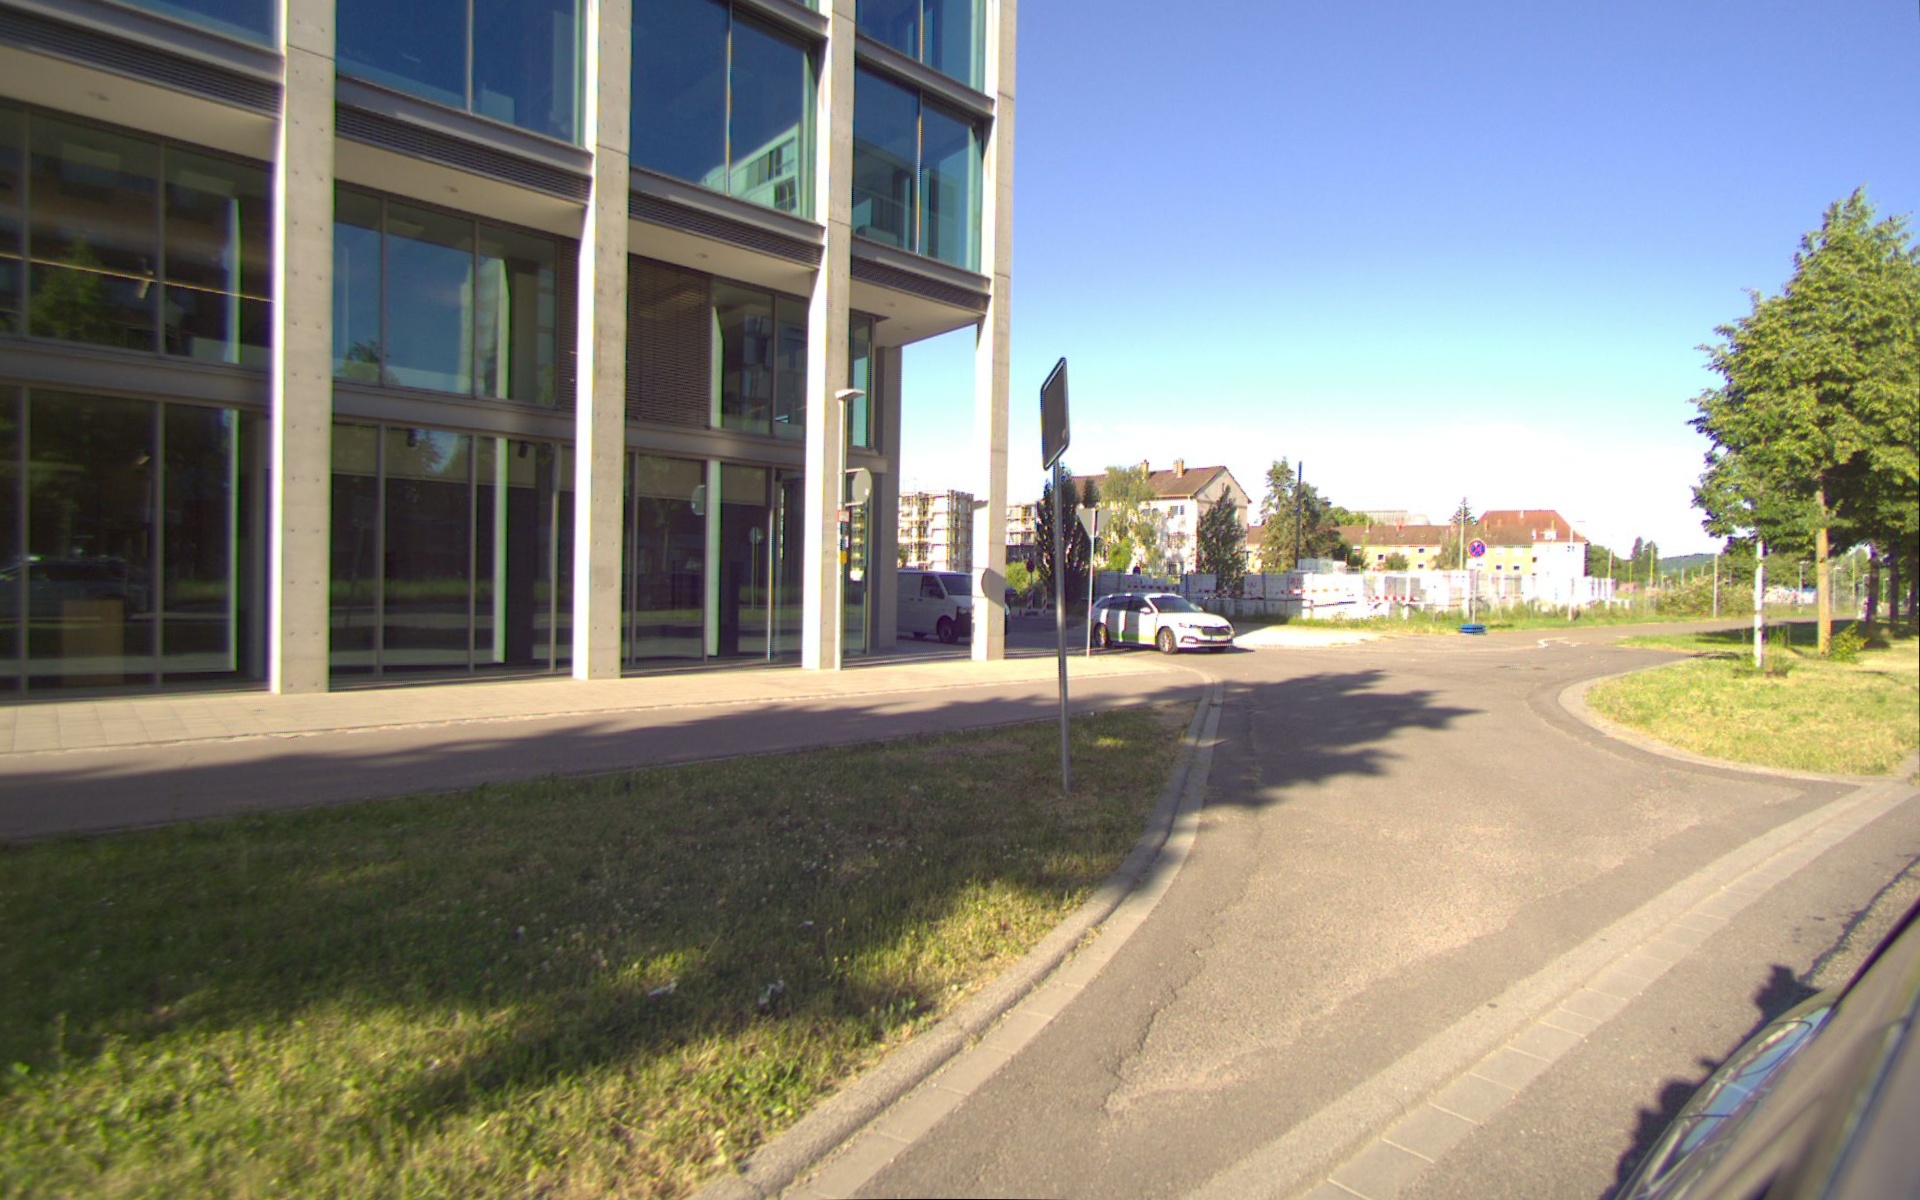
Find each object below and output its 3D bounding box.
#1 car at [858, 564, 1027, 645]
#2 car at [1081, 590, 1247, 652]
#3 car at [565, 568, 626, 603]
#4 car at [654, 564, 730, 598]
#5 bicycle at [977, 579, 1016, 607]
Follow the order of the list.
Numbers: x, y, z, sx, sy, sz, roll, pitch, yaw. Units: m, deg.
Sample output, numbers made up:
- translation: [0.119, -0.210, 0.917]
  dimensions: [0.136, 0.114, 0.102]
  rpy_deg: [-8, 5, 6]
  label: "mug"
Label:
- translation: [-0.592, 0.045, 27.810]
  dimensions: [1.904, 2.006, 5.077]
  rpy_deg: [0, 1, -40]
  label: "car"
- translation: [5.062, 0.467, 25.812]
  dimensions: [1.737, 1.410, 4.535]
  rpy_deg: [0, 1, -27]
  label: "car"
- translation: [-18.395, -0.767, 51.010]
  dimensions: [1.718, 1.681, 3.843]
  rpy_deg: [-2, 2, -39]
  label: "car"
- translation: [-15.424, -1.085, 58.303]
  dimensions: [3.931, 1.872, 1.674]
  rpy_deg: [0, 1, -41]
  label: "car"
- translation: [1.605, -0.313, 44.459]
  dimensions: [1.715, 1.206, 0.584]
  rpy_deg: [0, 1, -38]
  label: "bicycle"
